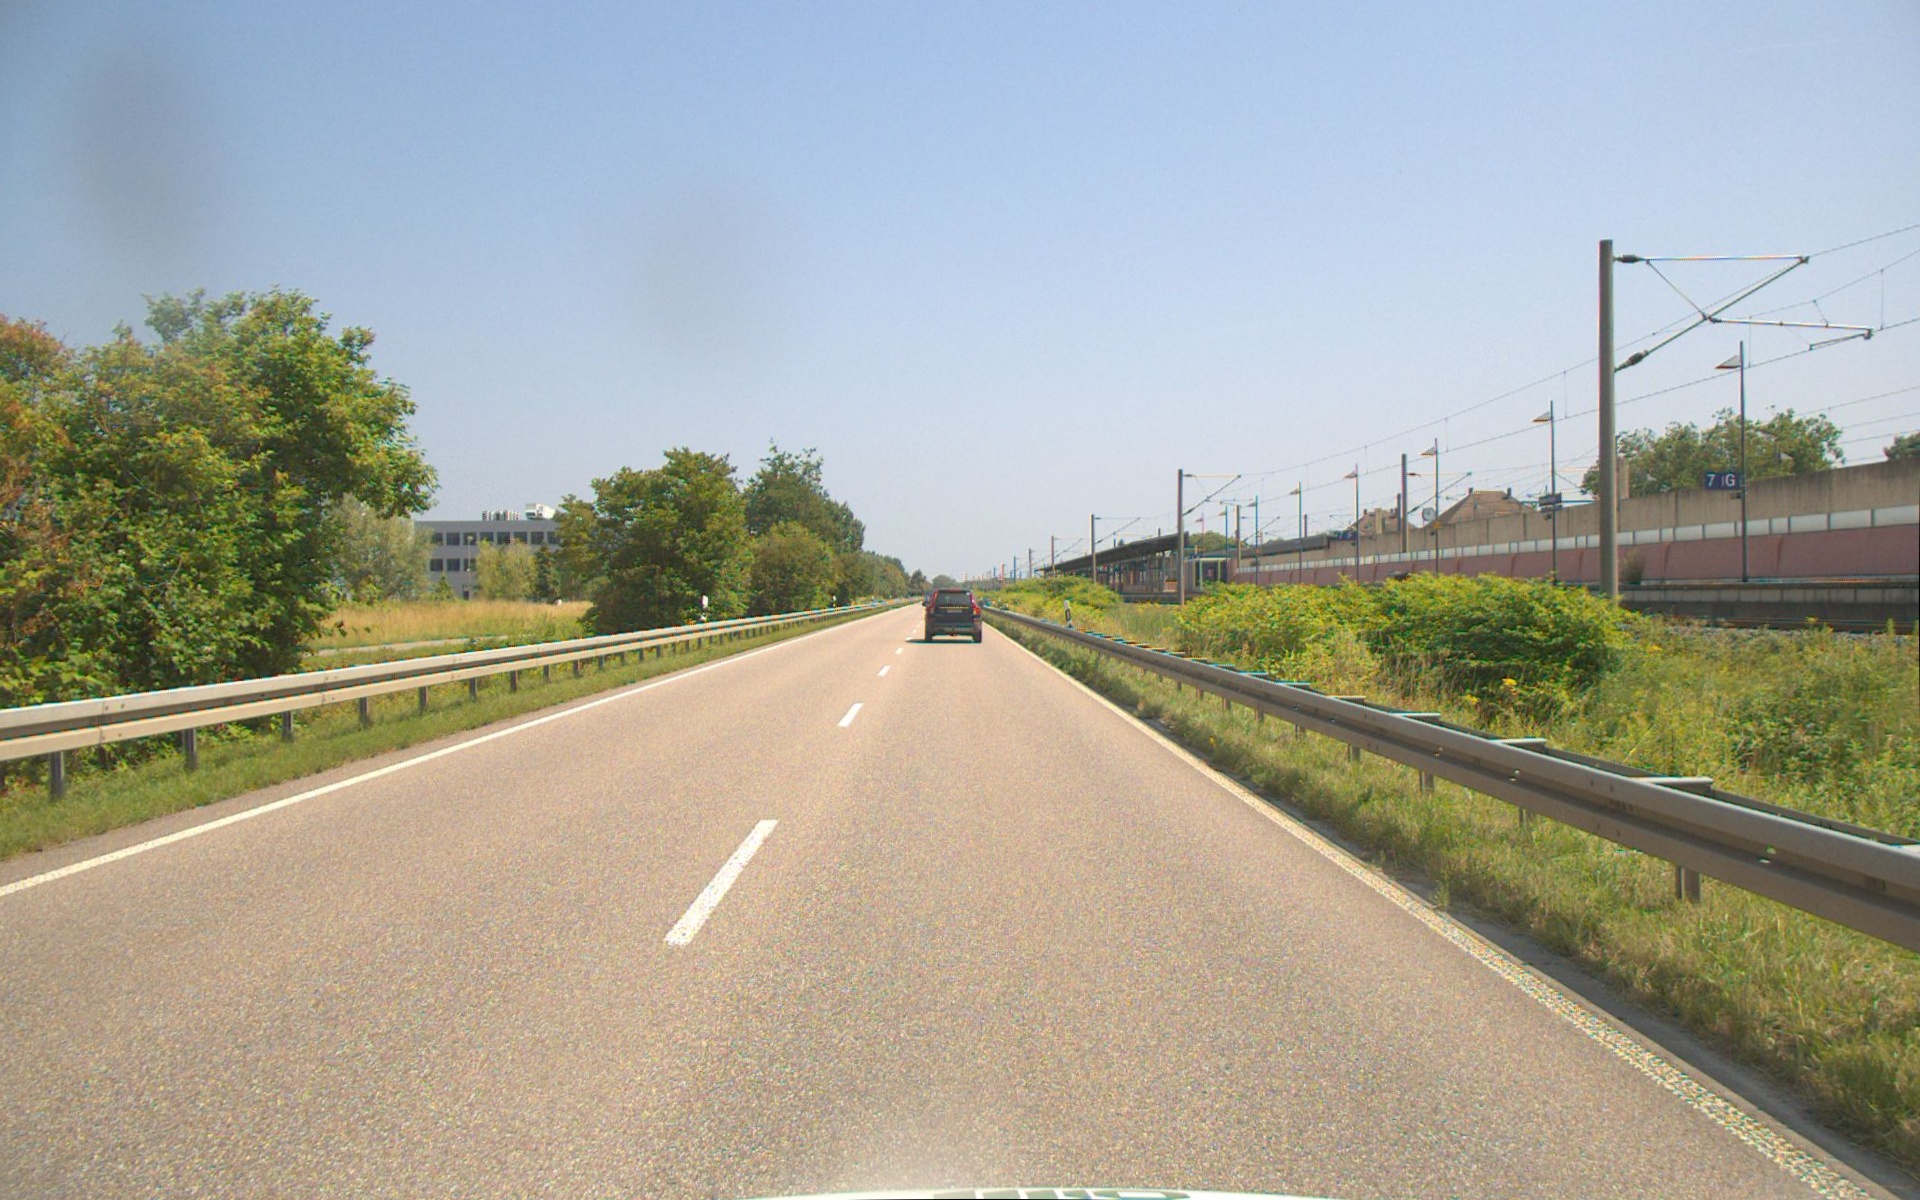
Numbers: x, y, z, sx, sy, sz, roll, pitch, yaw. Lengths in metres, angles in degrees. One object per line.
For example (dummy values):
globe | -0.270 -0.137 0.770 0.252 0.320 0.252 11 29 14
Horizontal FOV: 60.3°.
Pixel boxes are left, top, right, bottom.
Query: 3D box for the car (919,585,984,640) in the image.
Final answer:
car | -0.316 0.382 54.113 1.954 1.730 3.998 0 0 -3
